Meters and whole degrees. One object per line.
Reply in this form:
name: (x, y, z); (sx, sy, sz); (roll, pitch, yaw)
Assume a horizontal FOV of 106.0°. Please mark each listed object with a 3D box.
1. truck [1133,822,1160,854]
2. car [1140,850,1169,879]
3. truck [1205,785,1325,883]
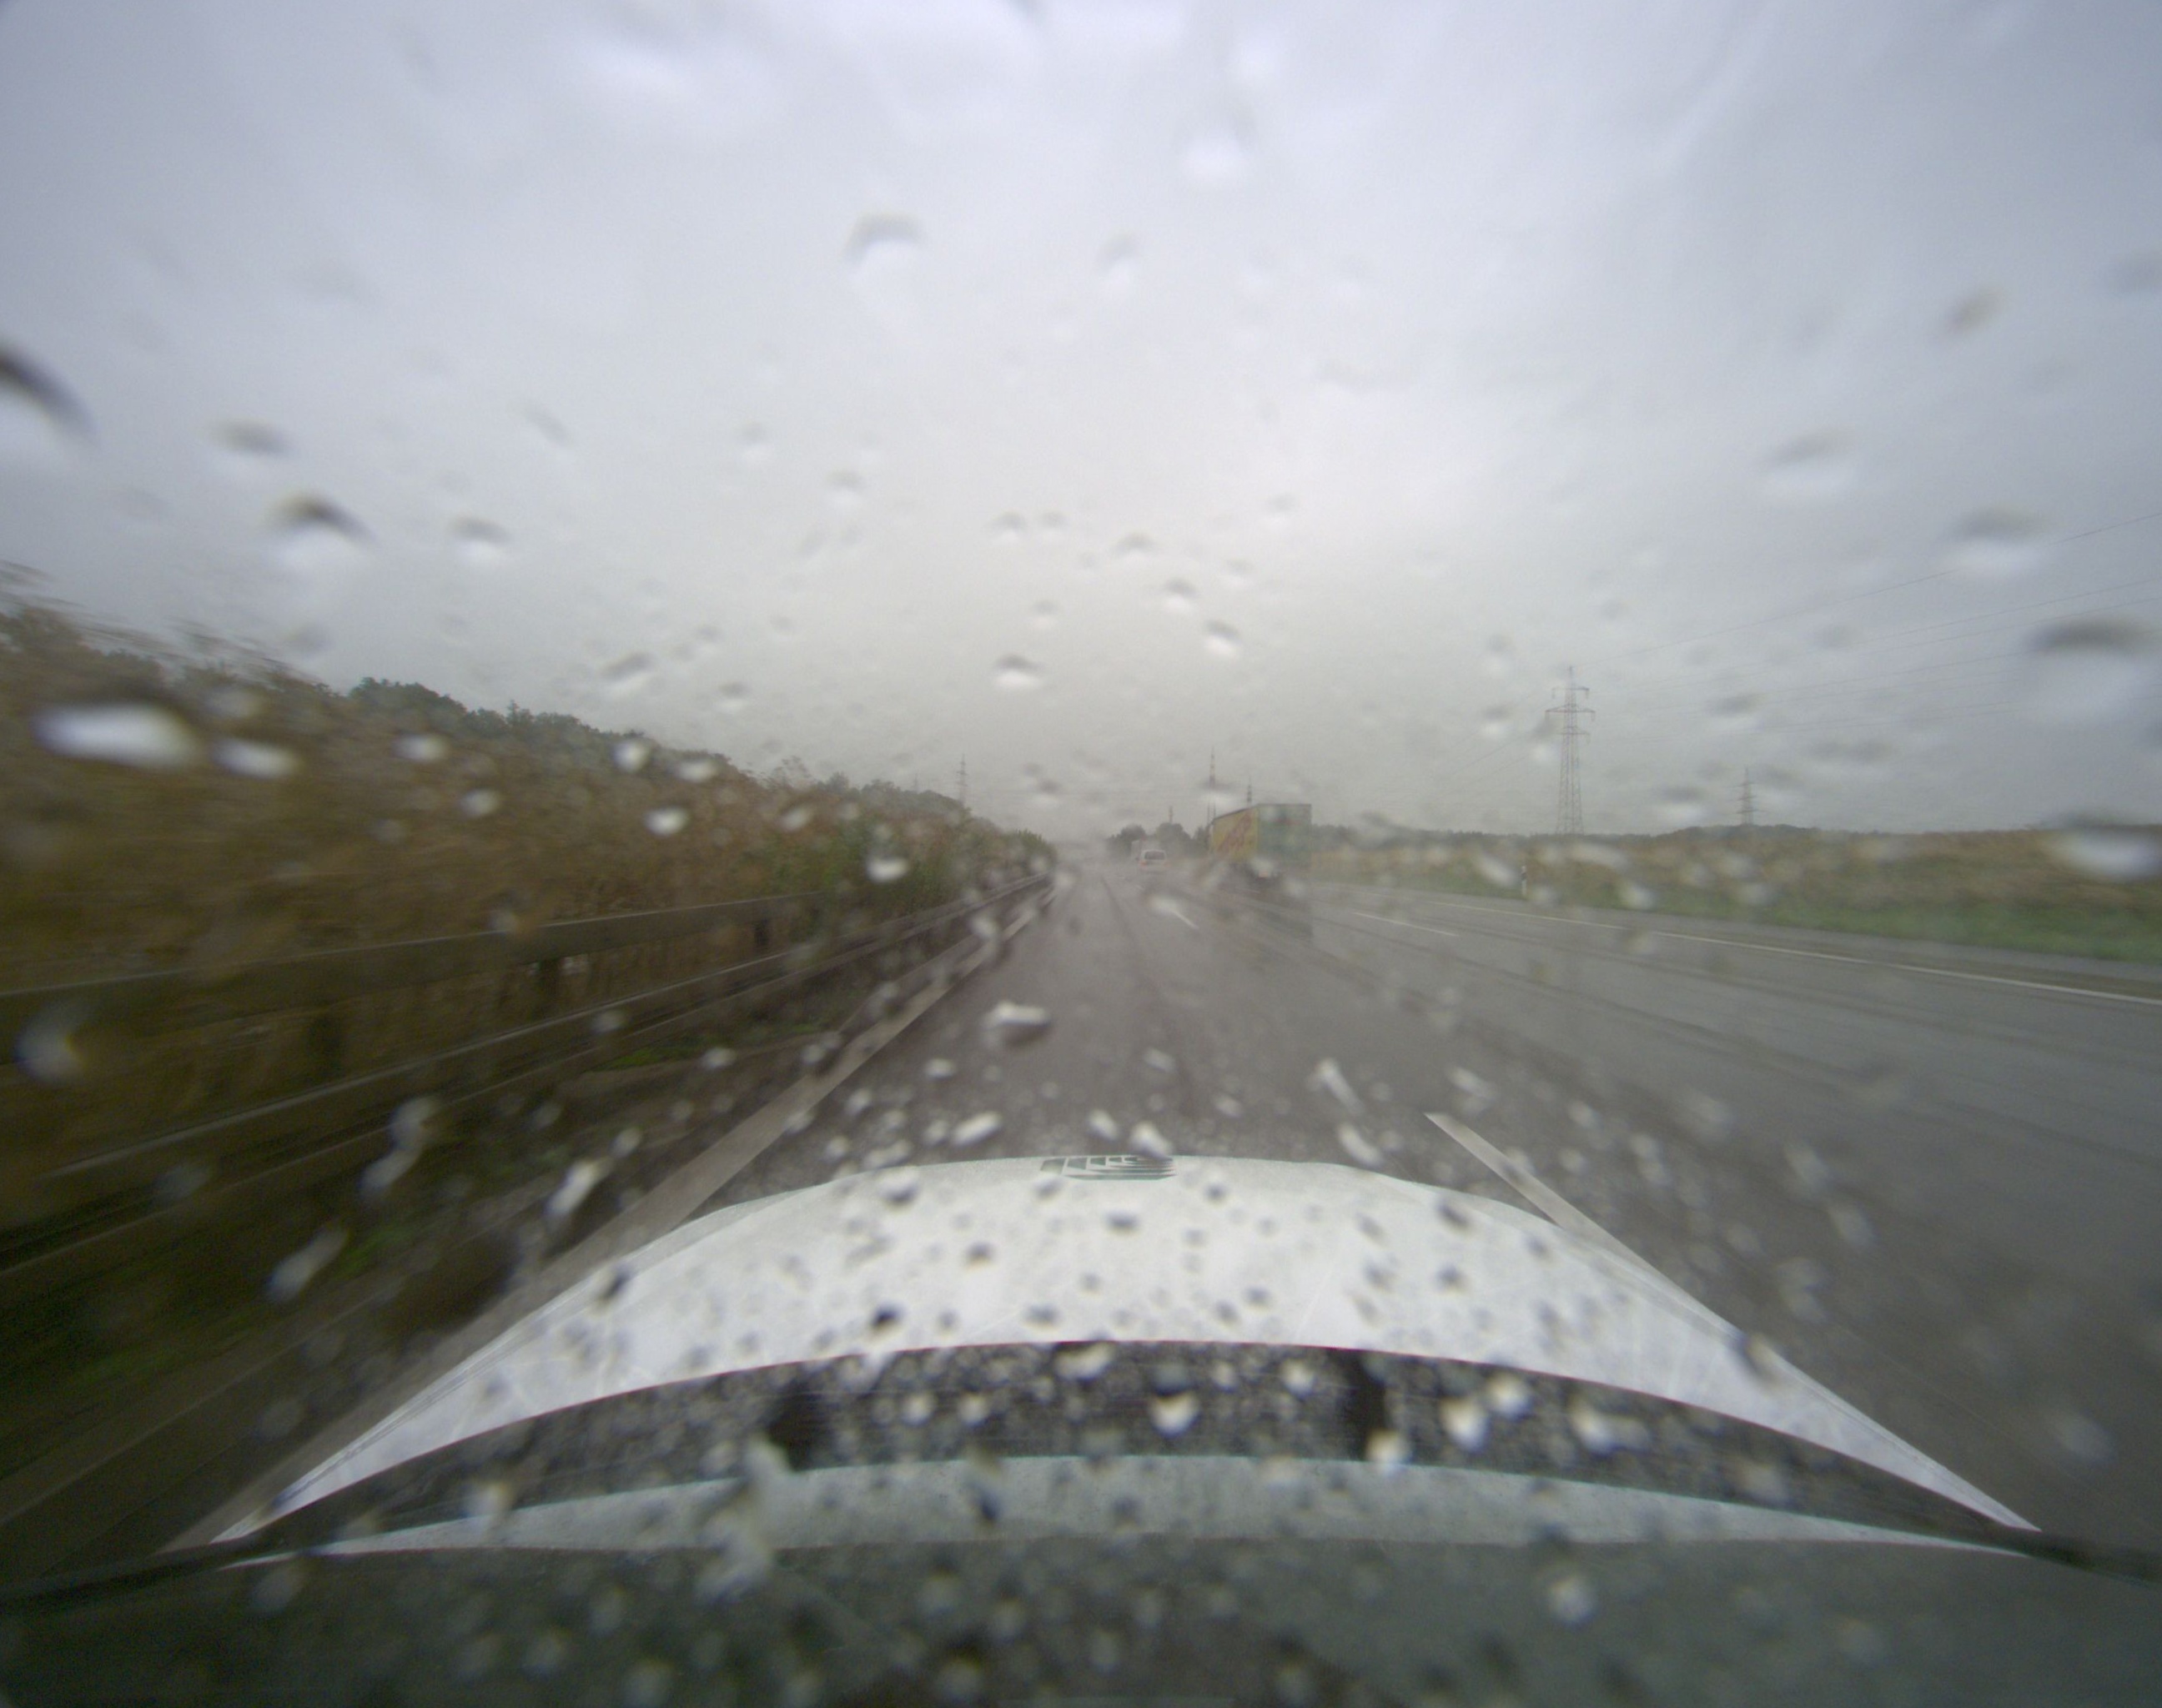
truck: (9.172, -2.170, 114.800); (3.221, 4.311, 8.839); (0, 0, 1)
car: (5.293, 0.717, 58.289); (1.983, 2.013, 4.007); (0, 0, 6)
truck: (9.956, -0.955, 46.745); (4.171, 4.630, 16.119); (0, 0, 3)
